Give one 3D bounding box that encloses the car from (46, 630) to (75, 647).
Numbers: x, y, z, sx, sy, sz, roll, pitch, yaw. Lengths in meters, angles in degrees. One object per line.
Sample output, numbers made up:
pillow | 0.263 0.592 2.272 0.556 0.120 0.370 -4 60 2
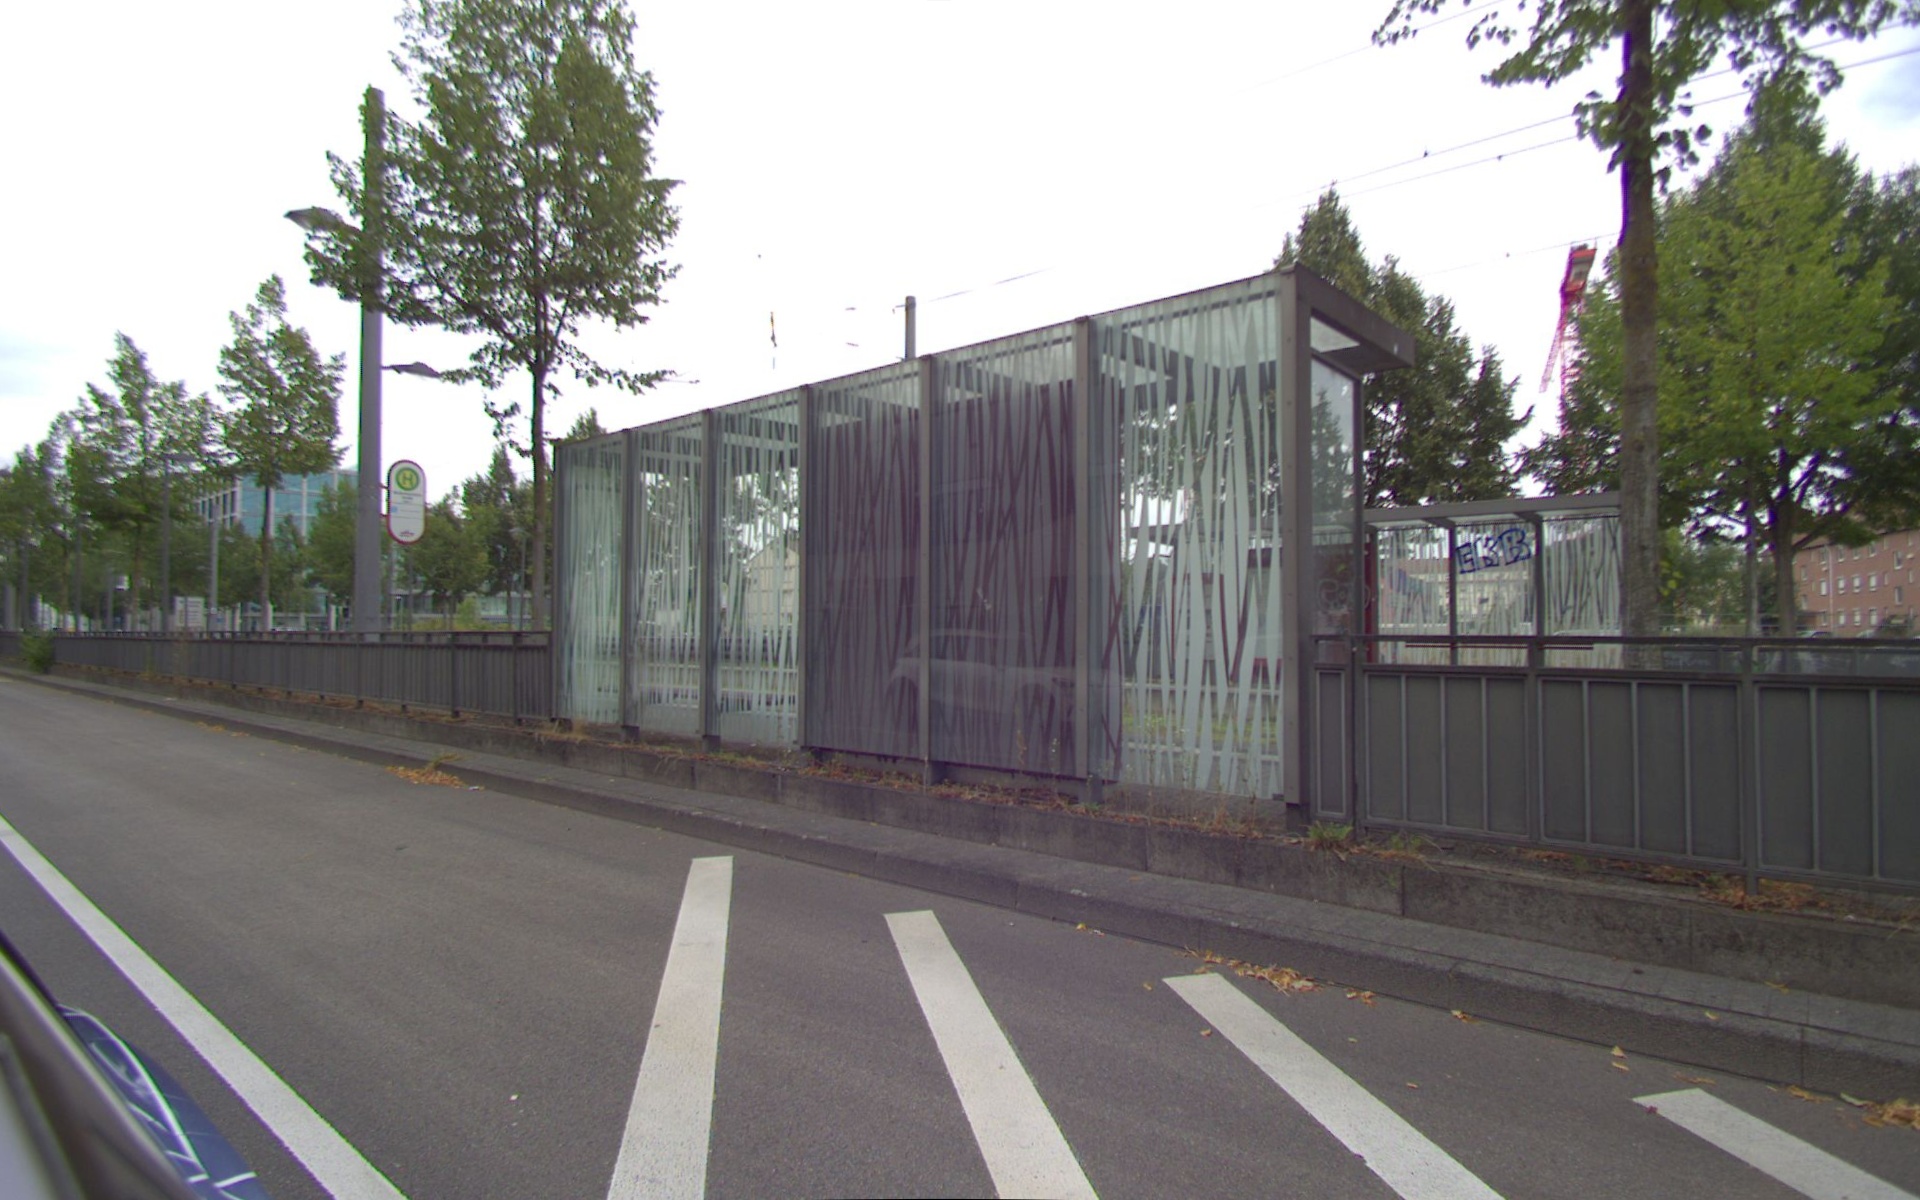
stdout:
car | -111.394 4.772 125.326 5.092 1.959 1.973 -2 -3 41
